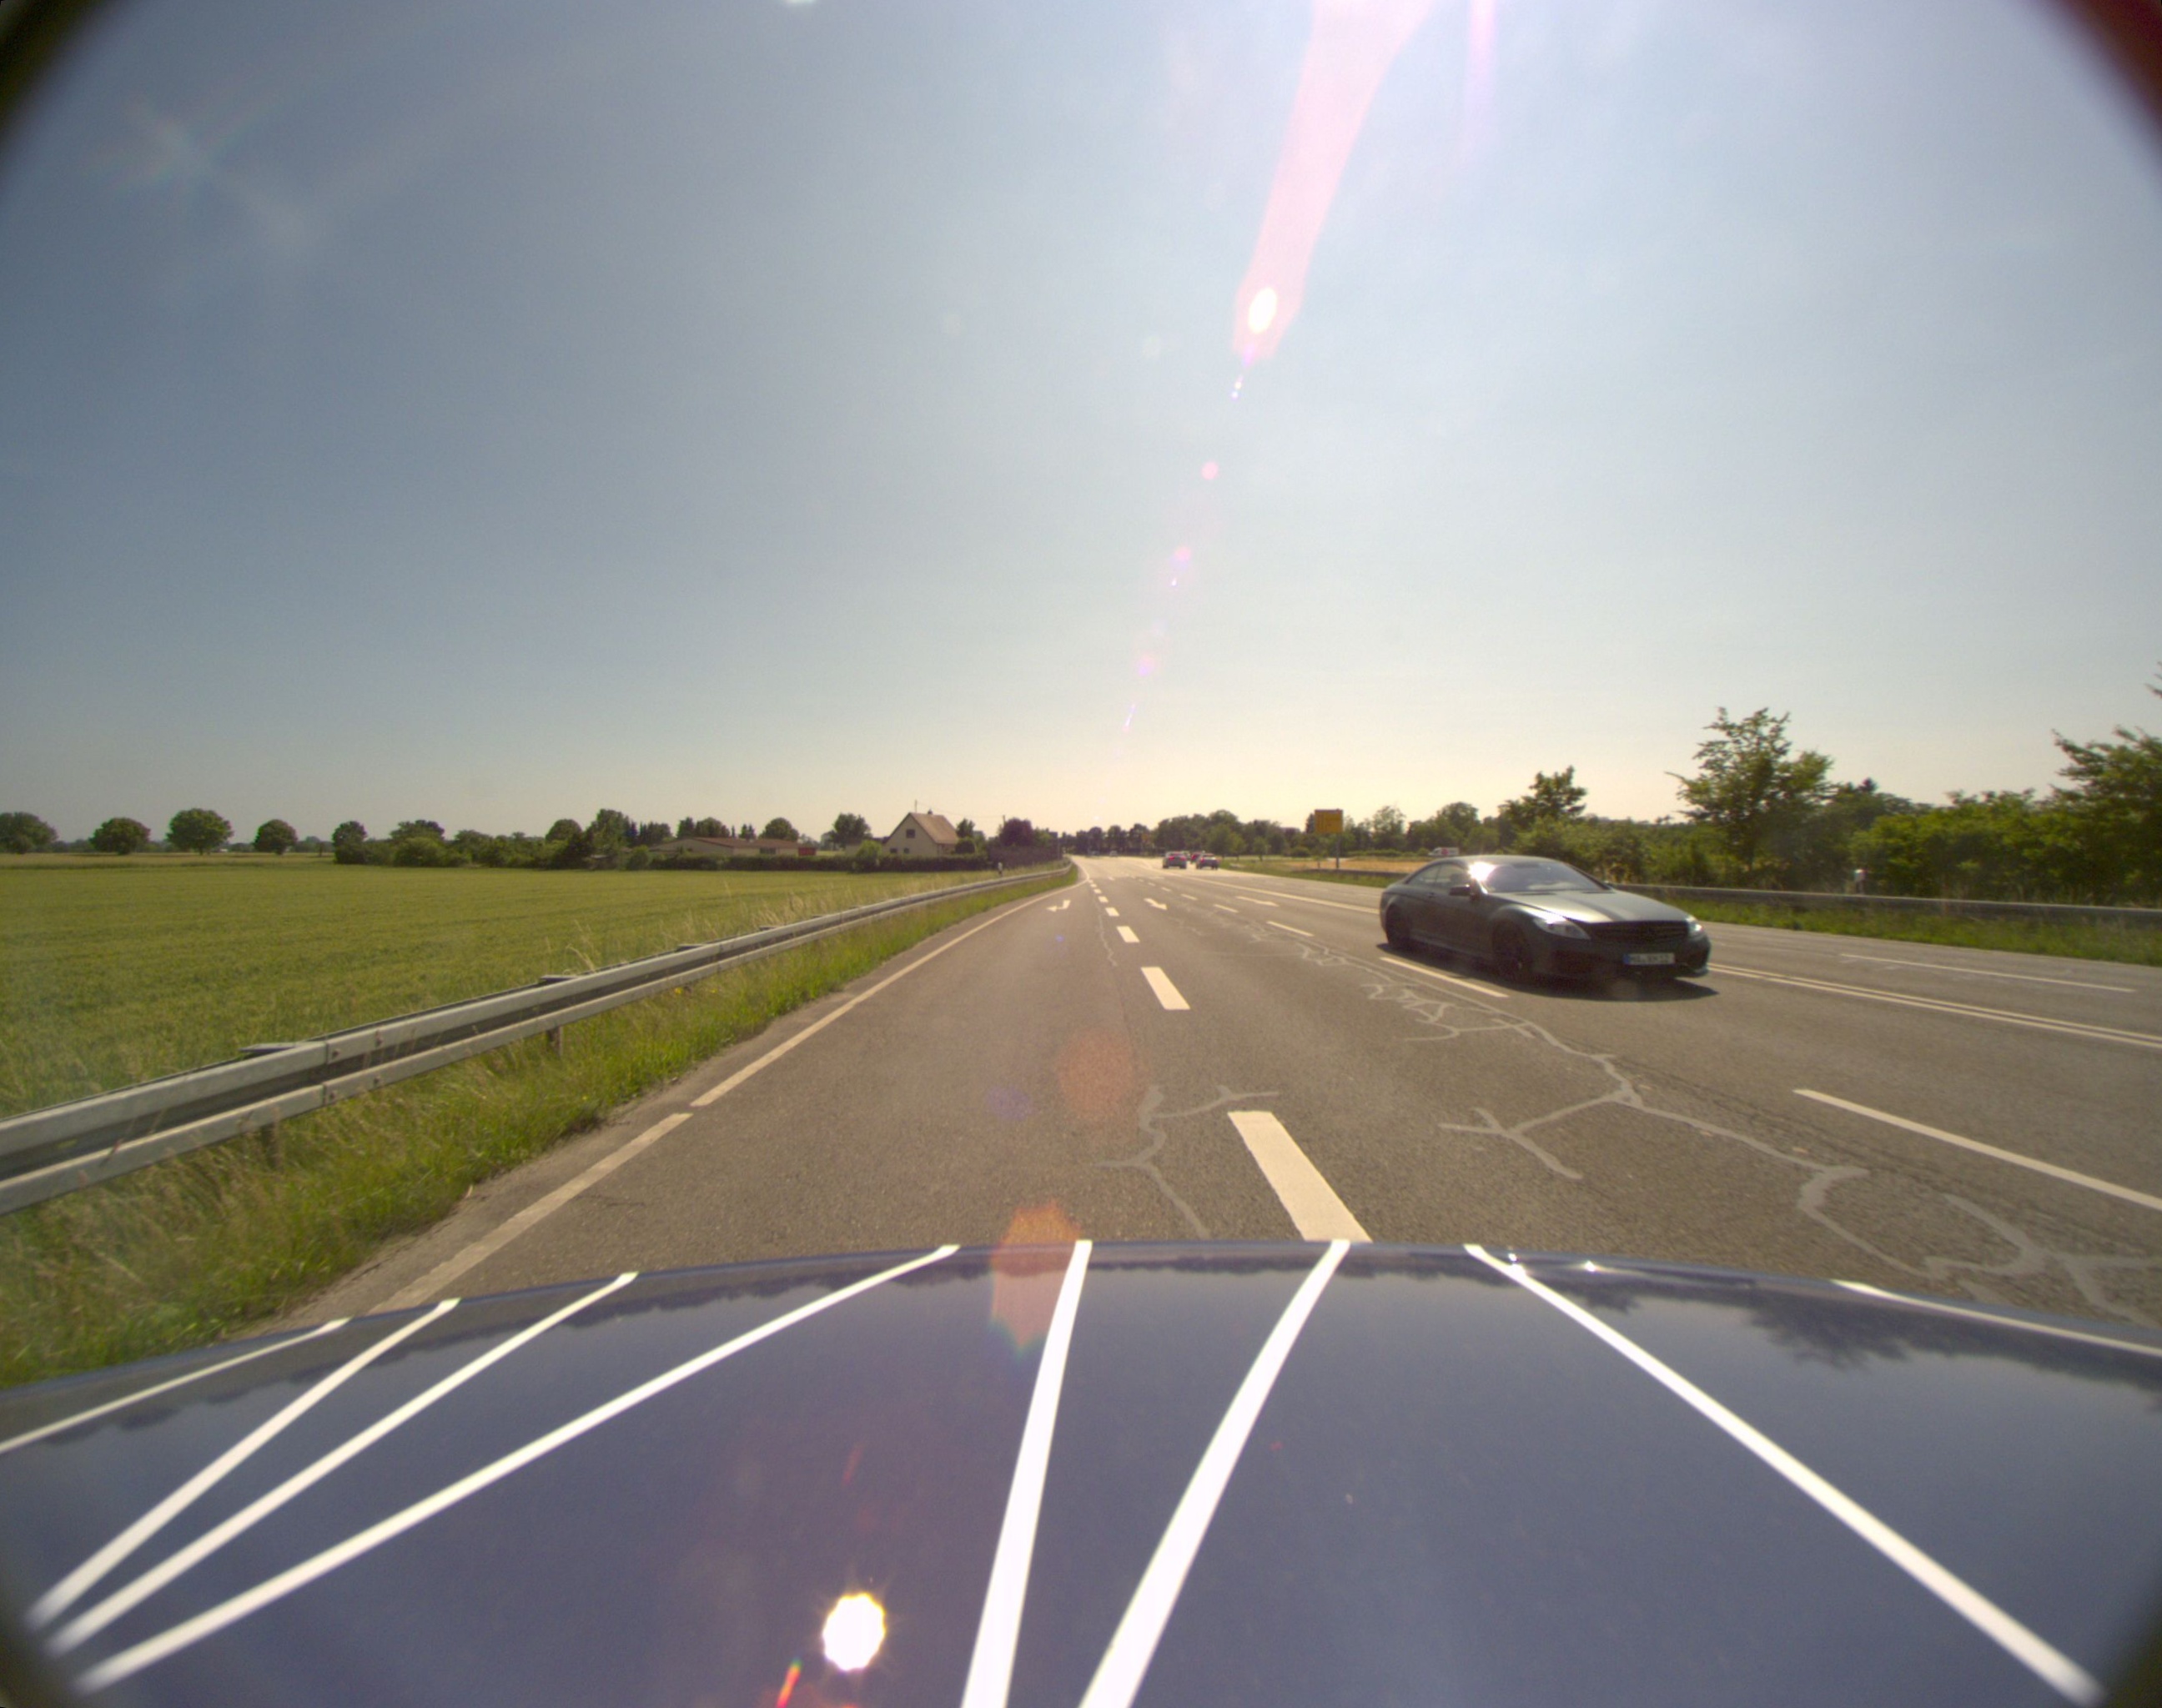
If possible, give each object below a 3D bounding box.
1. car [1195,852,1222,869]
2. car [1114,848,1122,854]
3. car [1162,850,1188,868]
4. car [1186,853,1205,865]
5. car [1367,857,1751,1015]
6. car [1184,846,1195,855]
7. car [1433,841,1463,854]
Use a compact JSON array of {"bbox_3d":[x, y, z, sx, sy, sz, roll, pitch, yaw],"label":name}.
[{"bbox_3d":[12.557,0.622,75.163,1.824,1.499,4.126,2,0,-2],"label":"car"},{"bbox_3d":[8.992,-0.735,186.000,1.752,1.434,4.083,-1,1,6],"label":"car"},{"bbox_3d":[9.116,0.458,74.030,1.845,1.578,4.874,2,0,-1],"label":"car"},{"bbox_3d":[15.950,0.723,105.855,1.998,1.553,4.310,1,1,0],"label":"car"},{"bbox_3d":[5.583,0.803,9.838,1.816,1.441,4.876,-1,0,-1],"label":"car"},{"bbox_3d":[19.394,-0.649,136.014,1.668,1.667,4.464,1,0,5],"label":"car"},{"bbox_3d":[88.918,-1.622,184.093,6.374,2.893,2.001,-2,2,8],"label":"car"}]
